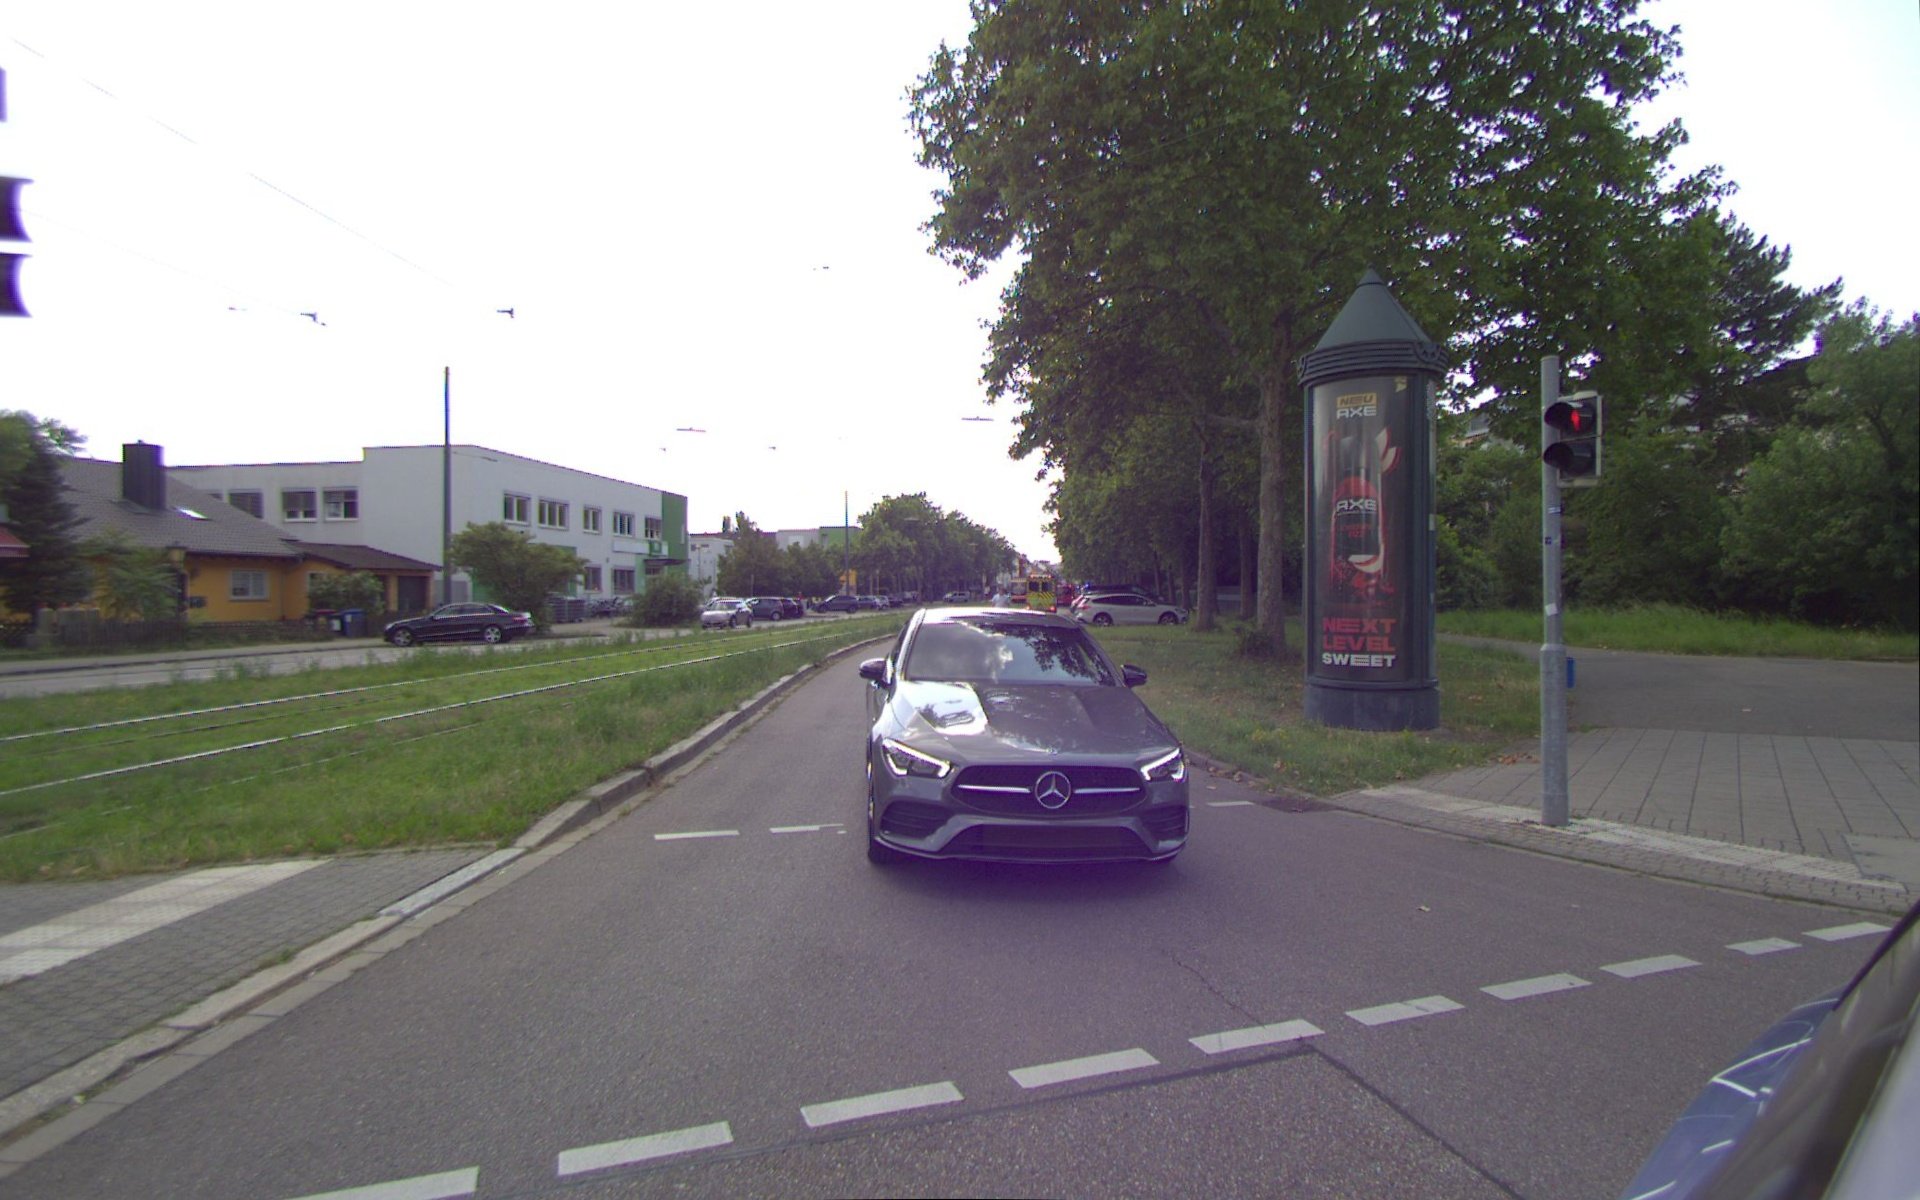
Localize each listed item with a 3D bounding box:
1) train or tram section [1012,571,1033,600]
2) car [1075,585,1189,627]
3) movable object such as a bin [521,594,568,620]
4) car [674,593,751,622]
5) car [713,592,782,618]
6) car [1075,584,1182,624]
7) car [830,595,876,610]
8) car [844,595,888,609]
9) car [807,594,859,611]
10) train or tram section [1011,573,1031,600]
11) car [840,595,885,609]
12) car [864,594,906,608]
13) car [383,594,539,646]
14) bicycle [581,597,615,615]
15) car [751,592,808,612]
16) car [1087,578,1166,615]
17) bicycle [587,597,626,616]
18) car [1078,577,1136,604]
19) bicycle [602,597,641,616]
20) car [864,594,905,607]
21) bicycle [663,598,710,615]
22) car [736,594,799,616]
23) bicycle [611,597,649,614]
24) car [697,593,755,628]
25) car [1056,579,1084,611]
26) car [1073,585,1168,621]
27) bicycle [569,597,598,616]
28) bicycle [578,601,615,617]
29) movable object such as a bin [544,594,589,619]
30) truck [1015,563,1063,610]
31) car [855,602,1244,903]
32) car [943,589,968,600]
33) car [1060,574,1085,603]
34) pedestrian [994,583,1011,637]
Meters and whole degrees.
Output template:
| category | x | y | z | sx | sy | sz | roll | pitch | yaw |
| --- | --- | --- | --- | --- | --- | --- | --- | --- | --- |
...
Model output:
| category | x | y | z | sx | sy | sz | roll | pitch | yaw |
| --- | --- | --- | --- | --- | --- | --- | --- | --- | --- |
| train or tram section | 8.222 | -1.901 | 133.718 | 2.449 | 3.641 | 7.419 | -1 | 1 | 2 |
| car | 7.012 | 0.252 | 41.648 | 4.464 | 1.665 | 1.996 | -1 | -1 | 6 |
| movable object such as a bin | -21.783 | 0.350 | 53.066 | 1.355 | 1.343 | 2.110 | -1 | 0 | 11 |
| car | -14.962 | 0.410 | 61.209 | 4.226 | 1.650 | 1.905 | -1 | 0 | -25 |
| car | -14.130 | 0.316 | 67.210 | 4.224 | 1.650 | 1.906 | 0 | 0 | -20 |
| car | 7.282 | 0.188 | 44.215 | 4.464 | 1.665 | 1.996 | -1 | -1 | 6 |
| car | -10.373 | 0.185 | 97.819 | 4.225 | 1.381 | 1.906 | -1 | 0 | -14 |
| car | -9.618 | 0.188 | 103.668 | 4.225 | 1.381 | 1.906 | -1 | 0 | -14 |
| car | -11.020 | 0.191 | 87.542 | 4.224 | 1.381 | 1.906 | -1 | 0 | -16 |
| train or tram section | 8.448 | -1.917 | 141.111 | 2.449 | 3.641 | 7.418 | -1 | 1 | 2 |
| car | -9.725 | 0.191 | 101.073 | 4.225 | 1.381 | 1.906 | -1 | 0 | -14 |
| car | -7.988 | 0.070 | 107.413 | 4.225 | 1.381 | 1.906 | -1 | 0 | -14 |
| car | -17.221 | 0.666 | 35.154 | 4.484 | 1.600 | 2.004 | -2 | 1 | -12 |
| bicycle | -21.903 | 0.355 | 61.207 | 1.766 | 1.095 | 0.735 | -1 | 0 | 6 |
| car | -13.661 | 0.129 | 76.395 | 4.083 | 1.523 | 1.864 | 0 | 0 | -14 |
| car | 9.656 | -0.188 | 58.944 | 4.481 | 2.039 | 1.995 | -1 | 0 | 9 |
| bicycle | -22.600 | 0.393 | 64.754 | 2.316 | 1.180 | 0.757 | 0 | 0 | 14 |
| car | 19.588 | -1.207 | 135.088 | 7.323 | 3.372 | 2.973 | 1 | 0 | 3 |
| bicycle | -22.027 | 0.410 | 65.821 | 2.383 | 1.180 | 0.745 | 0 | 0 | 15 |
| car | -8.340 | 0.049 | 112.097 | 4.225 | 1.381 | 1.906 | -1 | 0 | -14 |
| bicycle | -19.816 | 0.434 | 73.255 | 3.087 | 1.180 | 1.141 | -1 | 0 | 4 |
| car | -13.360 | 0.348 | 70.223 | 4.082 | 1.523 | 1.864 | 0 | 0 | -20 |
| bicycle | -21.767 | 0.353 | 66.696 | 2.355 | 1.129 | 0.793 | 0 | 0 | 15 |
| car | -11.563 | 0.499 | 50.231 | 1.866 | 1.650 | 4.315 | 0 | 0 | 0 |
| car | 11.885 | -0.530 | 109.594 | 2.923 | 3.359 | 7.446 | 1 | 0 | 6 |
| car | 7.775 | 0.168 | 49.368 | 4.464 | 1.665 | 1.996 | -1 | -1 | 6 |
| bicycle | -23.207 | 0.414 | 62.378 | 1.603 | 1.180 | 0.700 | 0 | 0 | 25 |
| bicycle | -22.941 | 0.587 | 63.886 | 2.126 | 0.982 | 0.728 | 0 | 0 | 12 |
| movable object such as a bin | -21.439 | 0.354 | 55.222 | 1.355 | 1.343 | 2.125 | -1 | 0 | 11 |
| truck | 6.087 | -0.997 | 77.225 | 3.141 | 3.359 | 7.505 | -1 | 0 | 8 |
| car | 0.213 | 0.746 | 7.153 | 1.804 | 1.411 | 4.611 | 1 | 0 | -7 |
| car | -0.800 | -0.974 | 175.473 | 3.916 | 1.861 | 1.825 | 1 | 0 | -24 |
| car | 13.542 | -1.333 | 122.249 | 2.923 | 3.372 | 7.446 | 1 | 0 | 6 |
| pedestrian | 1.337 | 0.314 | 31.895 | 0.485 | 1.705 | 0.586 | 0 | -1 | 5 |
